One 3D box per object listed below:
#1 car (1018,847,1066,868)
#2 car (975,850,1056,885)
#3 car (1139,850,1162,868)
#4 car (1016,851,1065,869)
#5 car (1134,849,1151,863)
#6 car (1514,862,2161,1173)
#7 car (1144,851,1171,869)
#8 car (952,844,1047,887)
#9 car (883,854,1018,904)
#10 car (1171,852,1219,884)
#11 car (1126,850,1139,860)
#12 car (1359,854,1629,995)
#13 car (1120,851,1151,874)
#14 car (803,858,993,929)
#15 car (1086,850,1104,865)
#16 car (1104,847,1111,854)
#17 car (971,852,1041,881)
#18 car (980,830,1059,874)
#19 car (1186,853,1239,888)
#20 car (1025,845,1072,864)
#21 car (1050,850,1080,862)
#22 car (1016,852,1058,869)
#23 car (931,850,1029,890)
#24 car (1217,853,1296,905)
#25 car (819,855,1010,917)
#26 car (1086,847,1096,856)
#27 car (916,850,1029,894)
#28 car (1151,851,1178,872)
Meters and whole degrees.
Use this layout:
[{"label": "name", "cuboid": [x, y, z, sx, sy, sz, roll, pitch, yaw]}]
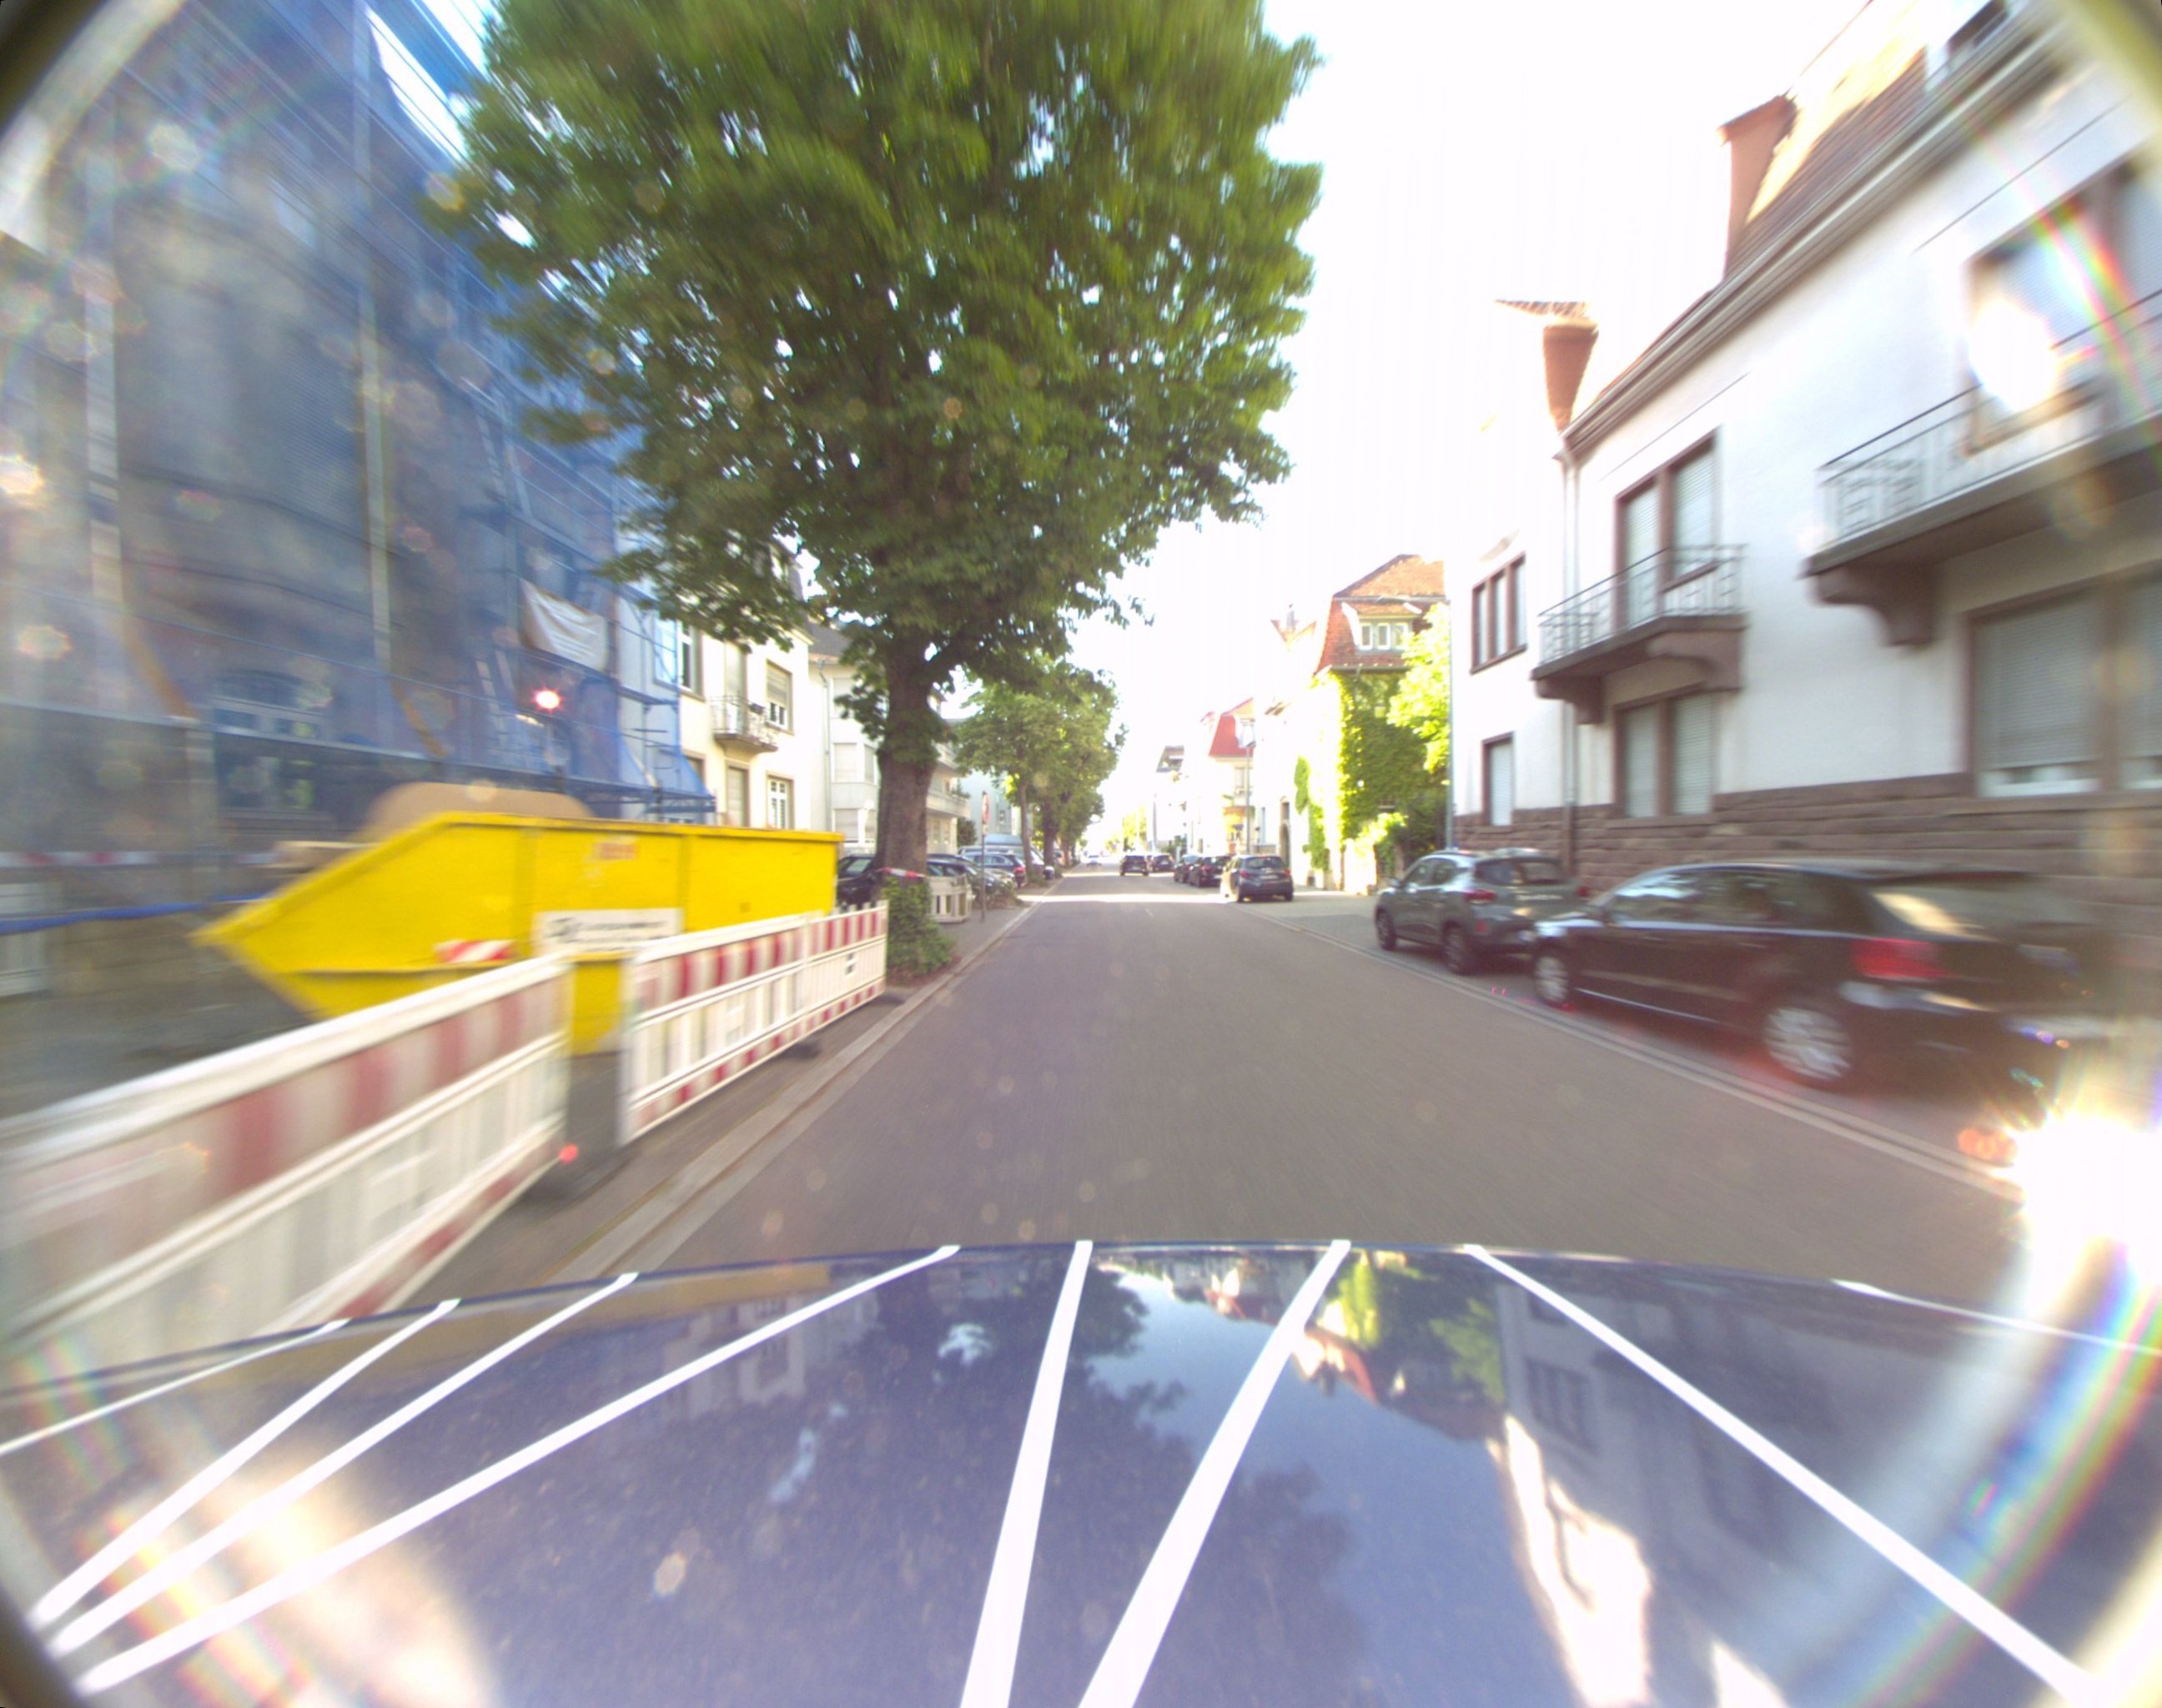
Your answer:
[{"label": "car", "cuboid": [-3.562, 0.312, 70.116, 4.313, 1.874, 1.758, 0, 2, -2]}, {"label": "car", "cuboid": [-3.476, 0.679, 40.216, 4.188, 1.714, 1.764, -1, 1, -6]}, {"label": "car", "cuboid": [6.238, 0.415, 68.388, 1.585, 1.512, 3.706, -2, 1, 0]}, {"label": "car", "cuboid": [-3.561, 0.498, 67.502, 4.313, 1.532, 1.758, 0, 1, -2]}, {"label": "car", "cuboid": [6.732, 0.180, 83.104, 1.654, 1.474, 3.429, -2, 1, 2]}, {"label": "car", "cuboid": [5.256, 0.843, 5.760, 1.658, 1.438, 3.843, -2, 1, -1]}, {"label": "car", "cuboid": [6.370, 0.482, 63.601, 1.586, 1.468, 3.705, -2, 1, -3]}, {"label": "car", "cuboid": [-3.998, 0.562, 37.728, 4.481, 2.002, 1.896, -1, 1, -1]}, {"label": "car", "cuboid": [-4.306, 0.814, 25.527, 4.166, 1.530, 1.851, 1, 1, 0]}, {"label": "car", "cuboid": [5.869, 0.676, 39.681, 1.713, 1.461, 4.632, -2, 1, -1]}, {"label": "car", "cuboid": [7.502, 0.129, 111.111, 1.723, 1.386, 3.908, -2, 0, 2]}, {"label": "car", "cuboid": [5.278, 0.788, 10.330, 1.657, 1.477, 3.764, -2, 1, 1]}, {"label": "car", "cuboid": [3.554, 0.552, 50.147, 1.776, 1.440, 4.000, 0, 0, 1]}, {"label": "car", "cuboid": [-4.236, 0.893, 17.993, 3.996, 1.483, 1.851, 1, 1, 3]}, {"label": "car", "cuboid": [1.794, 0.371, 93.234, 2.098, 1.701, 4.606, -1, 1, 2]}, {"label": "car", "cuboid": [7.643, -1.021, 216.623, 1.913, 1.679, 4.198, -2, 1, 1]}, {"label": "car", "cuboid": [-4.176, 0.709, 42.714, 3.729, 1.545, 1.639, -1, 1, 2]}, {"label": "car", "cuboid": [-4.056, -0.116, 50.862, 5.108, 2.885, 2.075, 0, 1, -2]}, {"label": "car", "cuboid": [5.861, 0.702, 34.219, 1.657, 1.407, 4.167, -2, 1, 0]}, {"label": "car", "cuboid": [-3.455, 0.065, 80.478, 4.819, 1.925, 1.950, 0, 1, 2]}, {"label": "car", "cuboid": [-2.045, 0.276, 97.697, 3.680, 1.434, 1.601, 0, 1, 1]}, {"label": "car", "cuboid": [-3.720, 0.545, 64.370, 3.411, 1.419, 1.759, 0, 1, 1]}, {"label": "car", "cuboid": [-4.400, 0.674, 33.409, 3.958, 1.673, 1.706, 1, 0, 4]}, {"label": "car", "cuboid": [5.510, 0.730, 24.318, 1.657, 1.438, 4.005, -2, 1, 1]}, {"label": "car", "cuboid": [-4.419, 0.826, 20.665, 4.729, 1.526, 1.851, 1, 1, 1]}, {"label": "car", "cuboid": [1.906, -0.537, 146.270, 1.913, 1.679, 4.198, -2, 1, 1]}, {"label": "car", "cuboid": [-4.325, 0.709, 30.809, 4.343, 1.673, 1.705, 1, 0, -2]}, {"label": "car", "cuboid": [6.318, 0.537, 57.971, 1.657, 1.446, 4.630, -2, 1, 1]}]
